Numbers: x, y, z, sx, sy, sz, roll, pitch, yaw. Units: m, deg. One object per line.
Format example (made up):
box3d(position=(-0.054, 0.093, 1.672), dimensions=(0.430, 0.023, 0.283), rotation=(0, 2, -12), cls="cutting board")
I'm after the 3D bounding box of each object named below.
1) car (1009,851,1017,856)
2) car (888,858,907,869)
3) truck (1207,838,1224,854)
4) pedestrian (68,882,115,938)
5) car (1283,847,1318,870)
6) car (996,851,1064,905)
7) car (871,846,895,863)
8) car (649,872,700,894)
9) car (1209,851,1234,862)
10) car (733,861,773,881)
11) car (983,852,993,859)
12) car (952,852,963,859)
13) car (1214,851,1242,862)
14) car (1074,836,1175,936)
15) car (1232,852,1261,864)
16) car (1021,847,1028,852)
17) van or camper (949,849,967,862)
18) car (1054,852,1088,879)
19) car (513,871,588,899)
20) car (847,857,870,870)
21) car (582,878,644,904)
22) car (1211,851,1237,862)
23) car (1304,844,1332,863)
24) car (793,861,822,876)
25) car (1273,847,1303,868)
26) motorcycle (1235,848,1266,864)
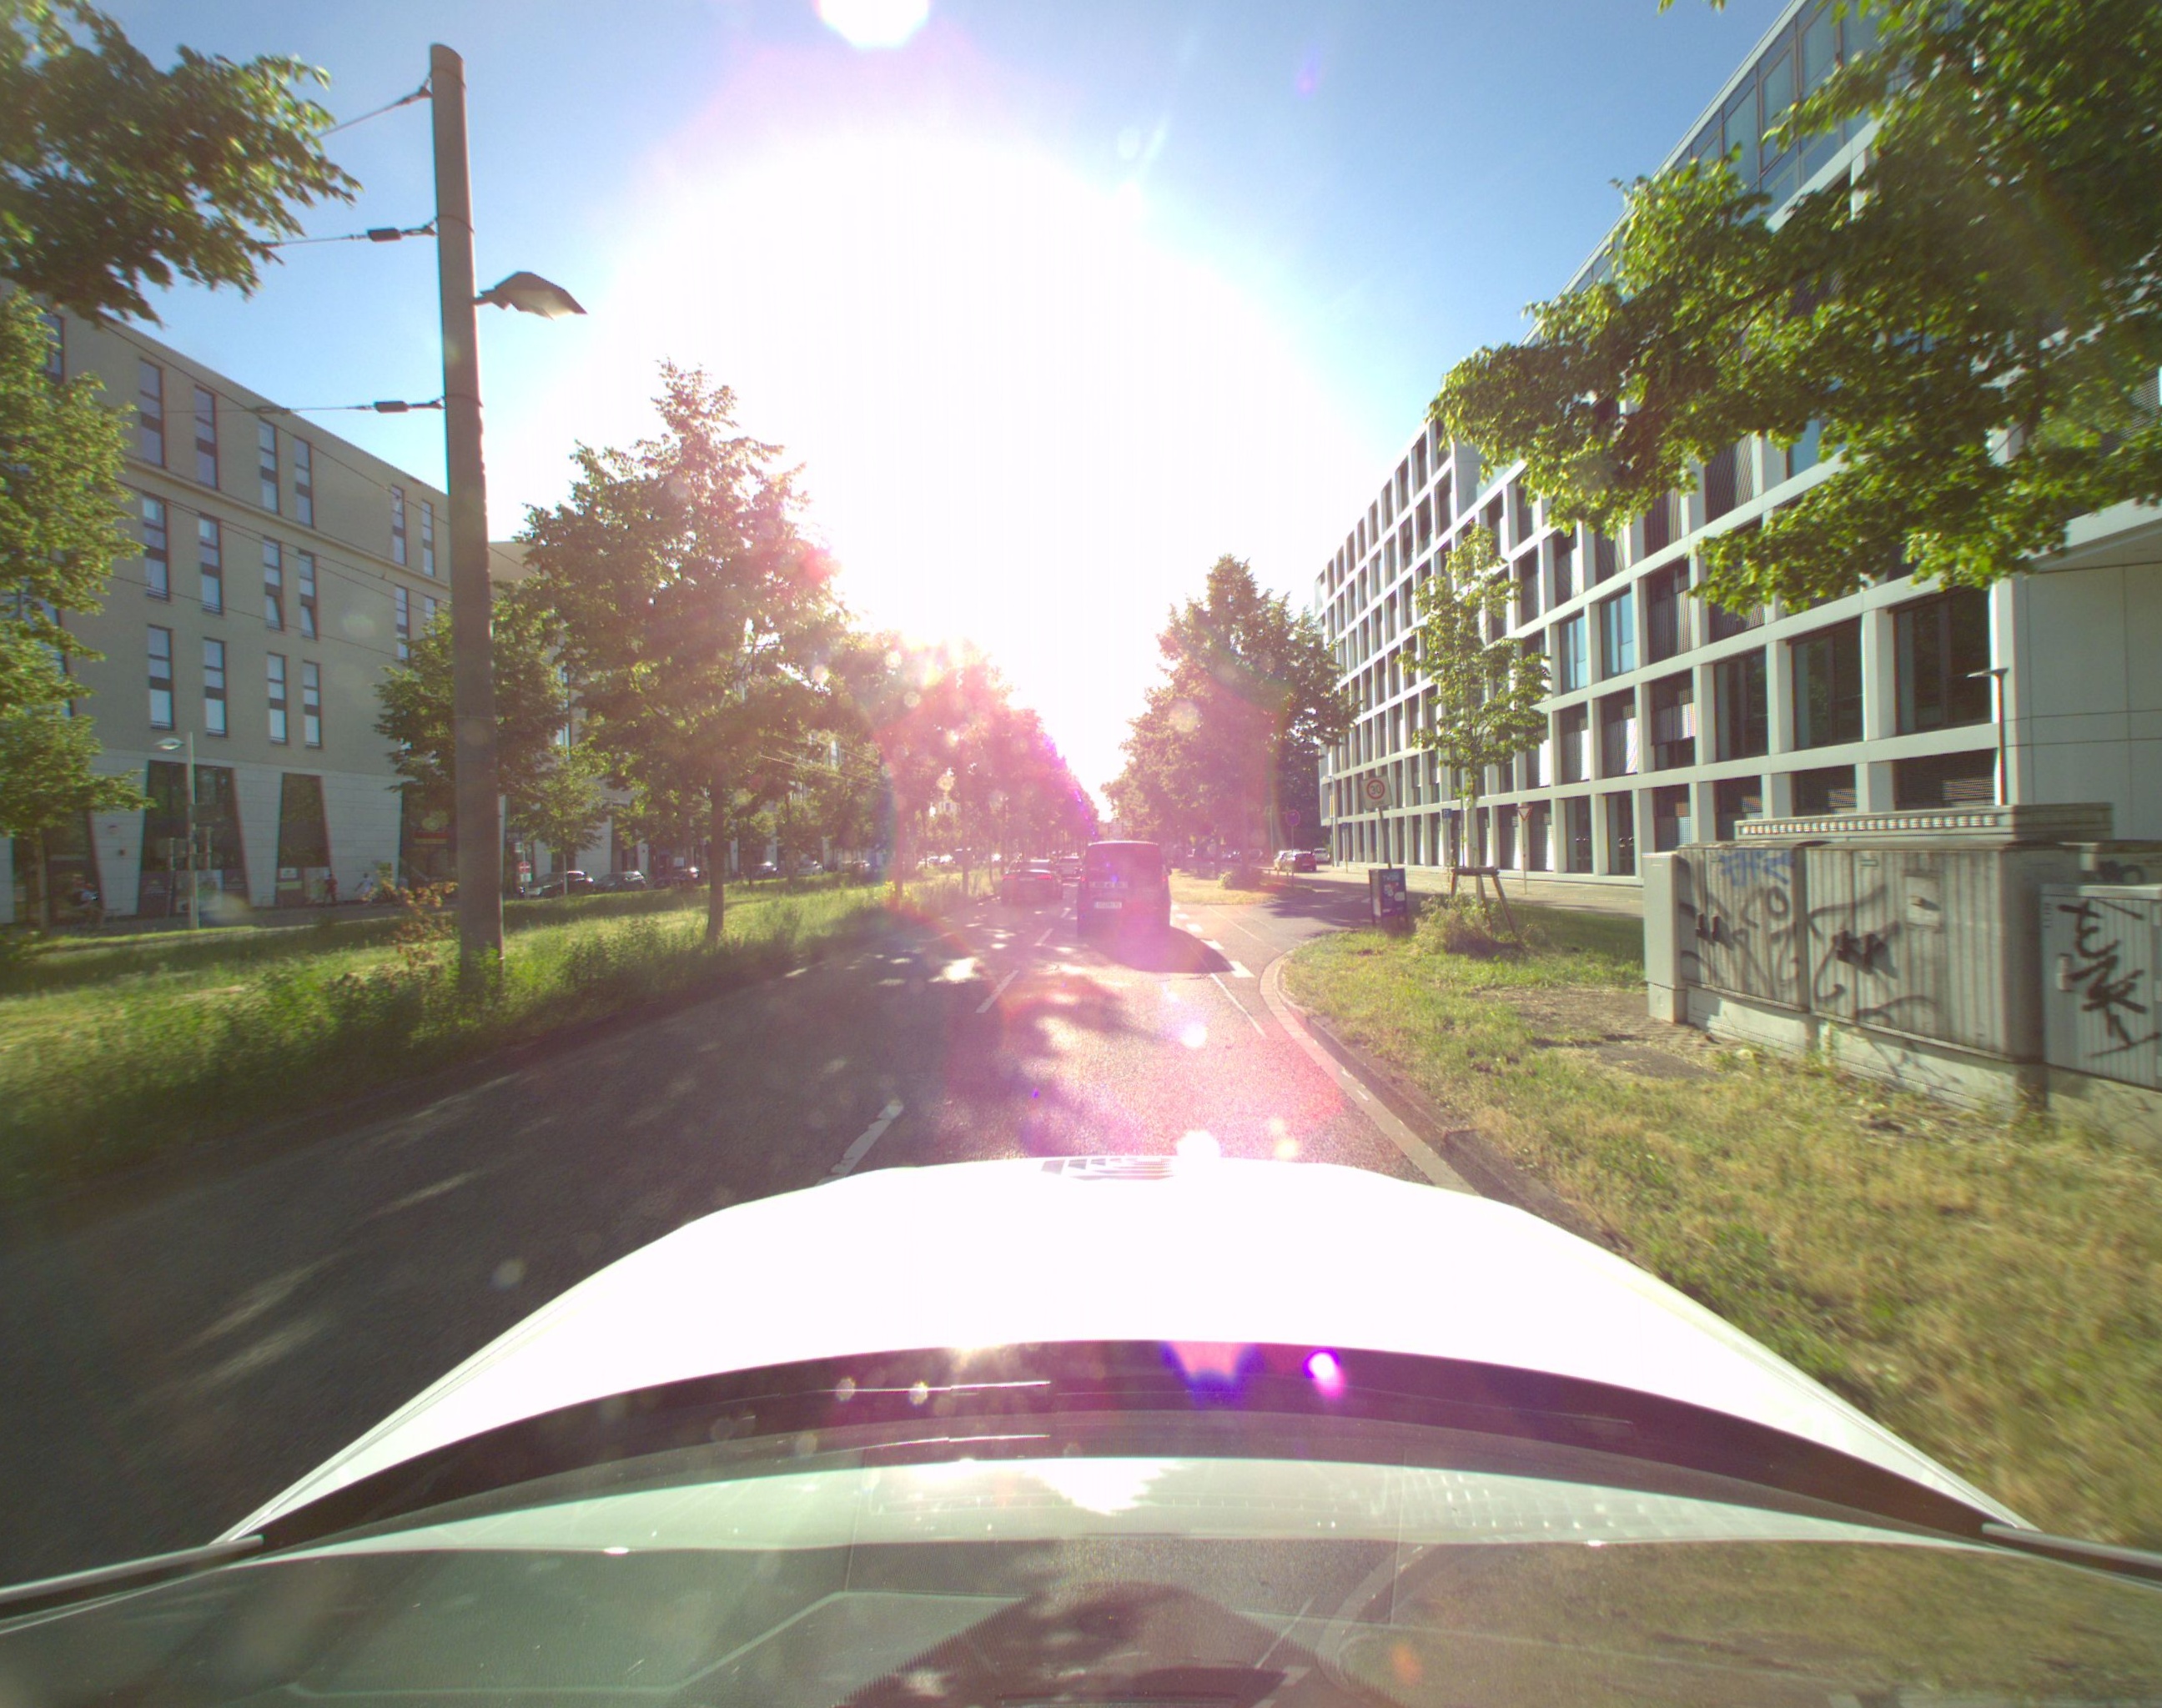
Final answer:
box3d(position=(-19.414, -0.130, 233.236), dimensions=(1.749, 1.574, 4.002), rotation=(-2, 0, 2), cls="car")
box3d(position=(-26.103, 1.339, 115.966), dimensions=(1.574, 1.342, 3.714), rotation=(-2, 0, 2), cls="car")
box3d(position=(21.492, -1.289, 130.441), dimensions=(1.824, 2.501, 5.936), rotation=(-1, 0, 2), cls="truck")
box3d(position=(-33.187, 1.851, 27.319), dimensions=(0.577, 1.812, 0.800), rotation=(-1, 0, -1), cls="pedestrian")
box3d(position=(16.007, 0.295, 59.566), dimensions=(1.750, 1.611, 3.908), rotation=(-2, 1, 4), cls="car")
box3d(position=(-1.553, 0.706, 26.244), dimensions=(1.802, 1.527, 4.113), rotation=(-2, 1, 1), cls="car")
box3d(position=(-25.268, 0.050, 104.251), dimensions=(1.987, 2.013, 4.001), rotation=(-2, 1, 1), cls="car")
box3d(position=(-28.581, 2.004, 57.439), dimensions=(1.574, 1.342, 3.714), rotation=(-2, 0, 2), cls="car")
box3d(position=(19.447, 0.307, 112.511), dimensions=(3.379, 1.358, 1.475), rotation=(-2, 0, 9), cls="car")
box3d(position=(-28.228, 1.438, 70.148), dimensions=(1.769, 1.528, 3.808), rotation=(-2, 0, 2), cls="car")
box3d(position=(-22.677, 0.308, 199.032), dimensions=(1.749, 1.574, 4.002), rotation=(-2, 0, 2), cls="car")
box3d(position=(-29.141, 0.332, 192.150), dimensions=(1.726, 1.772, 4.002), rotation=(-2, 0, 2), cls="car")
box3d(position=(18.574, 0.294, 102.903), dimensions=(3.379, 1.358, 1.475), rotation=(-2, 0, 9), cls="car")
box3d(position=(0.803, 0.578, 16.713), dimensions=(1.802, 1.794, 4.113), rotation=(-1, 0, 0), cls="car")
box3d(position=(20.016, 0.506, 98.399), dimensions=(3.379, 1.358, 1.475), rotation=(-2, 0, 9), cls="car")
box3d(position=(-17.441, -1.332, 252.764), dimensions=(1.749, 1.574, 4.002), rotation=(-2, 0, 2), cls="car")
box3d(position=(-17.208, 0.209, 114.016), dimensions=(1.813, 1.738, 3.714), rotation=(-2, 0, 2), cls="van or camper")
box3d(position=(-0.556, 0.668, 48.549), dimensions=(1.801, 1.434, 4.115), rotation=(-2, 1, 2), cls="car")
box3d(position=(-29.044, 1.666, 44.719), dimensions=(1.574, 1.342, 3.714), rotation=(-2, 0, 2), cls="car")
box3d(position=(-26.443, 1.124, 96.723), dimensions=(1.574, 1.342, 3.714), rotation=(-2, 0, 2), cls="car")
box3d(position=(-28.939, 2.272, 50.491), dimensions=(1.574, 1.342, 3.714), rotation=(-2, 0, 2), cls="car")
box3d(position=(19.288, 0.285, 110.186), dimensions=(3.379, 1.358, 1.475), rotation=(-2, 0, 9), cls="car")
box3d(position=(24.217, -0.048, 83.349), dimensions=(1.985, 1.816, 4.004), rotation=(-1, 0, 4), cls="car")
box3d(position=(-27.770, 1.433, 82.791), dimensions=(1.574, 1.342, 3.714), rotation=(-2, 0, 2), cls="car")
box3d(position=(16.344, 0.281, 64.447), dimensions=(1.810, 1.532, 3.443), rotation=(-2, 0, 6), cls="car")
box3d(position=(18.929, 0.223, 91.054), dimensions=(3.379, 1.663, 1.474), rotation=(-2, 0, 9), cls="motorcycle")
